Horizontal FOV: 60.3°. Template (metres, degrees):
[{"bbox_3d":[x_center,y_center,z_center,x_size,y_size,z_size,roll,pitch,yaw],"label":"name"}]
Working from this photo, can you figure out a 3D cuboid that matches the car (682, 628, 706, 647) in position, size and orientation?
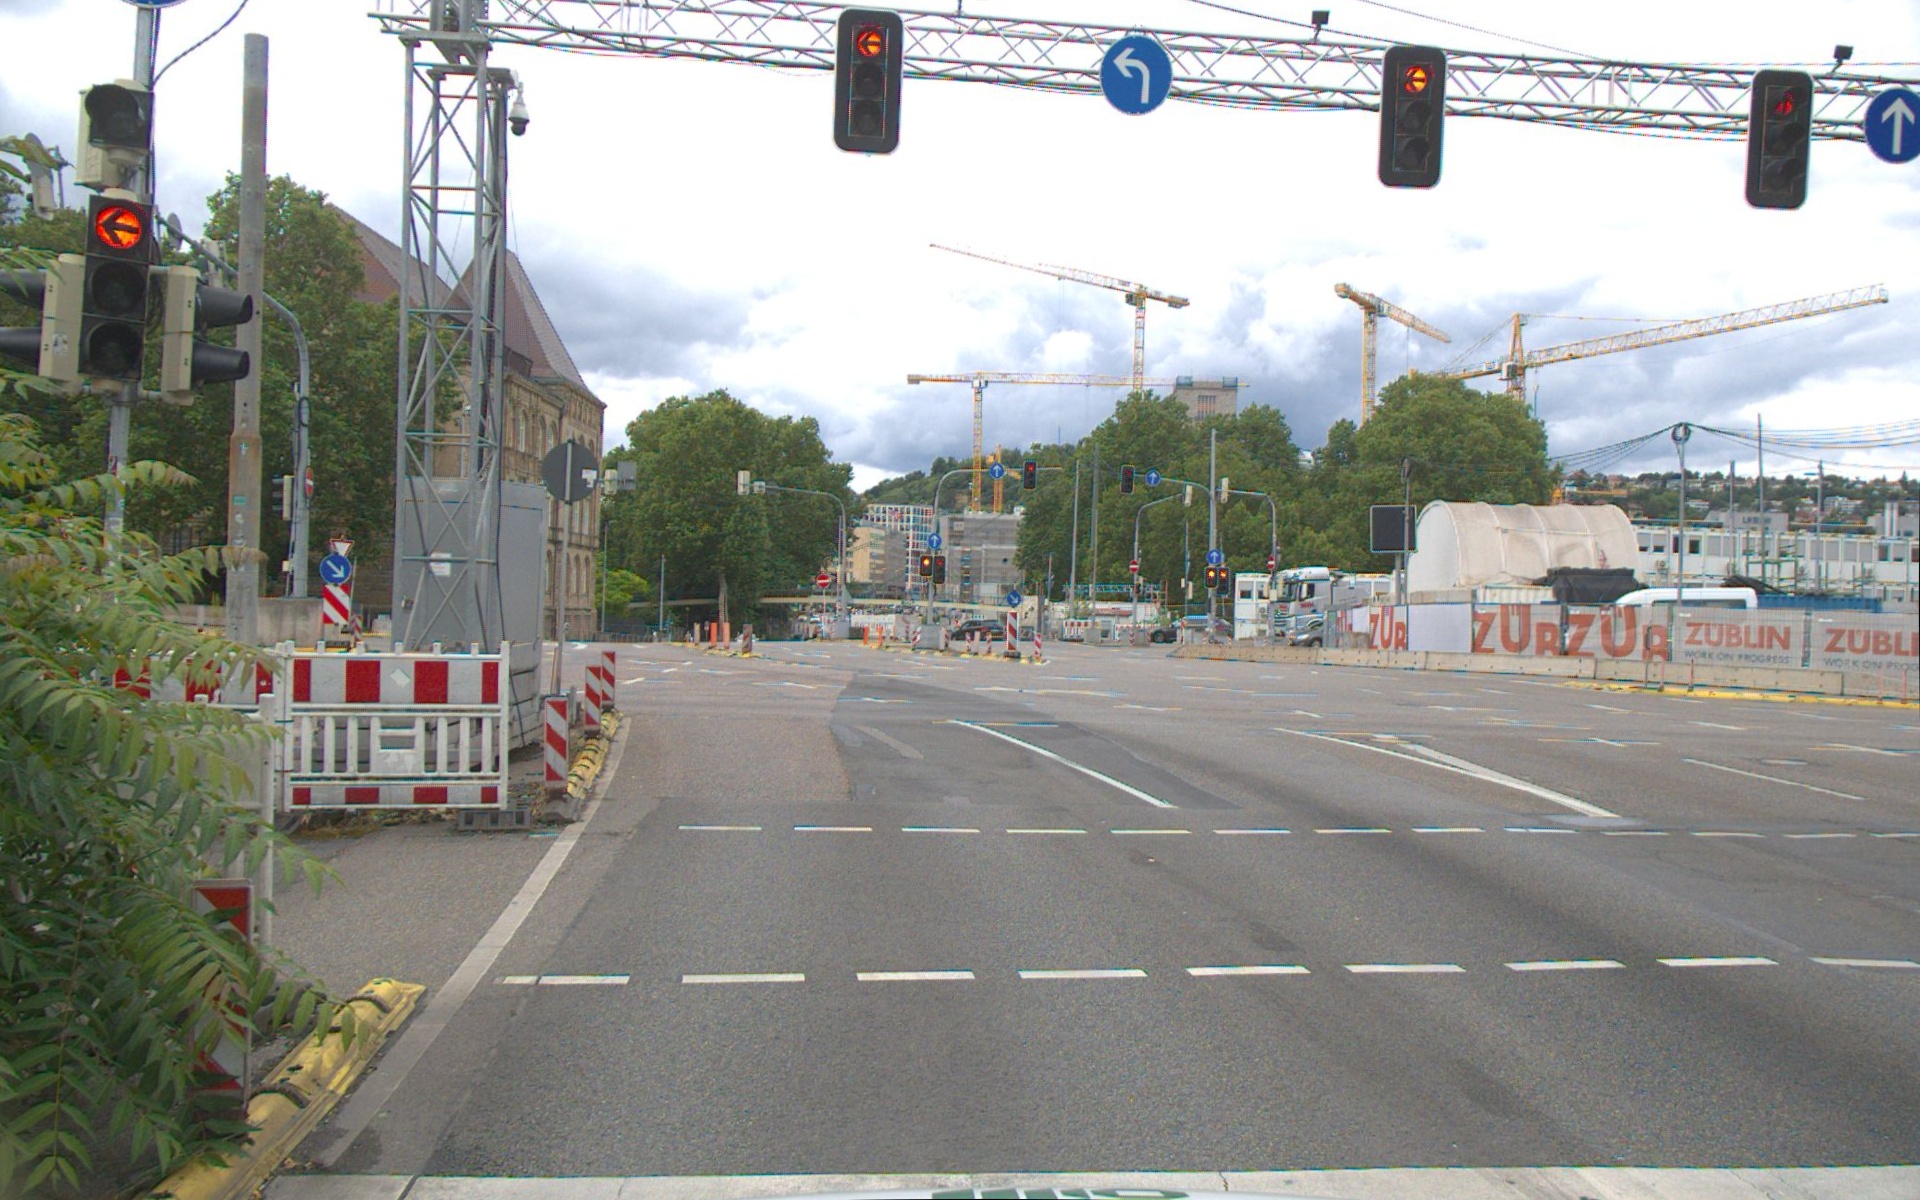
[{"bbox_3d":[-27.446,3.879,170.621,1.954,1.870,3.997,1,0,-3],"label":"car"}]

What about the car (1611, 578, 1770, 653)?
[{"bbox_3d":[21.053,0.446,47.813,3.902,2.049,2.001,1,0,15],"label":"car"}]

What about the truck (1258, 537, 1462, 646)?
[{"bbox_3d":[19.650,-0.369,81.284,9.565,5.047,3.097,1,0,-19],"label":"truck"}]

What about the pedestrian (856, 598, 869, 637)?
[{"bbox_3d":[-4.755,0.855,80.726,0.574,1.872,0.604,1,-1,-4],"label":"pedestrian"}]

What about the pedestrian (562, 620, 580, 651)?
[{"bbox_3d":[-26.008,2.352,110.624,0.930,2.049,0.766,1,-1,1],"label":"pedestrian"}]

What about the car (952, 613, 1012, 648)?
[{"bbox_3d":[1.345,1.833,101.360,1.972,2.049,3.960,1,0,-30],"label":"car"}]

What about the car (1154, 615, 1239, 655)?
[{"bbox_3d":[12.935,1.891,90.395,4.177,2.049,1.999,1,0,23],"label":"car"}]
